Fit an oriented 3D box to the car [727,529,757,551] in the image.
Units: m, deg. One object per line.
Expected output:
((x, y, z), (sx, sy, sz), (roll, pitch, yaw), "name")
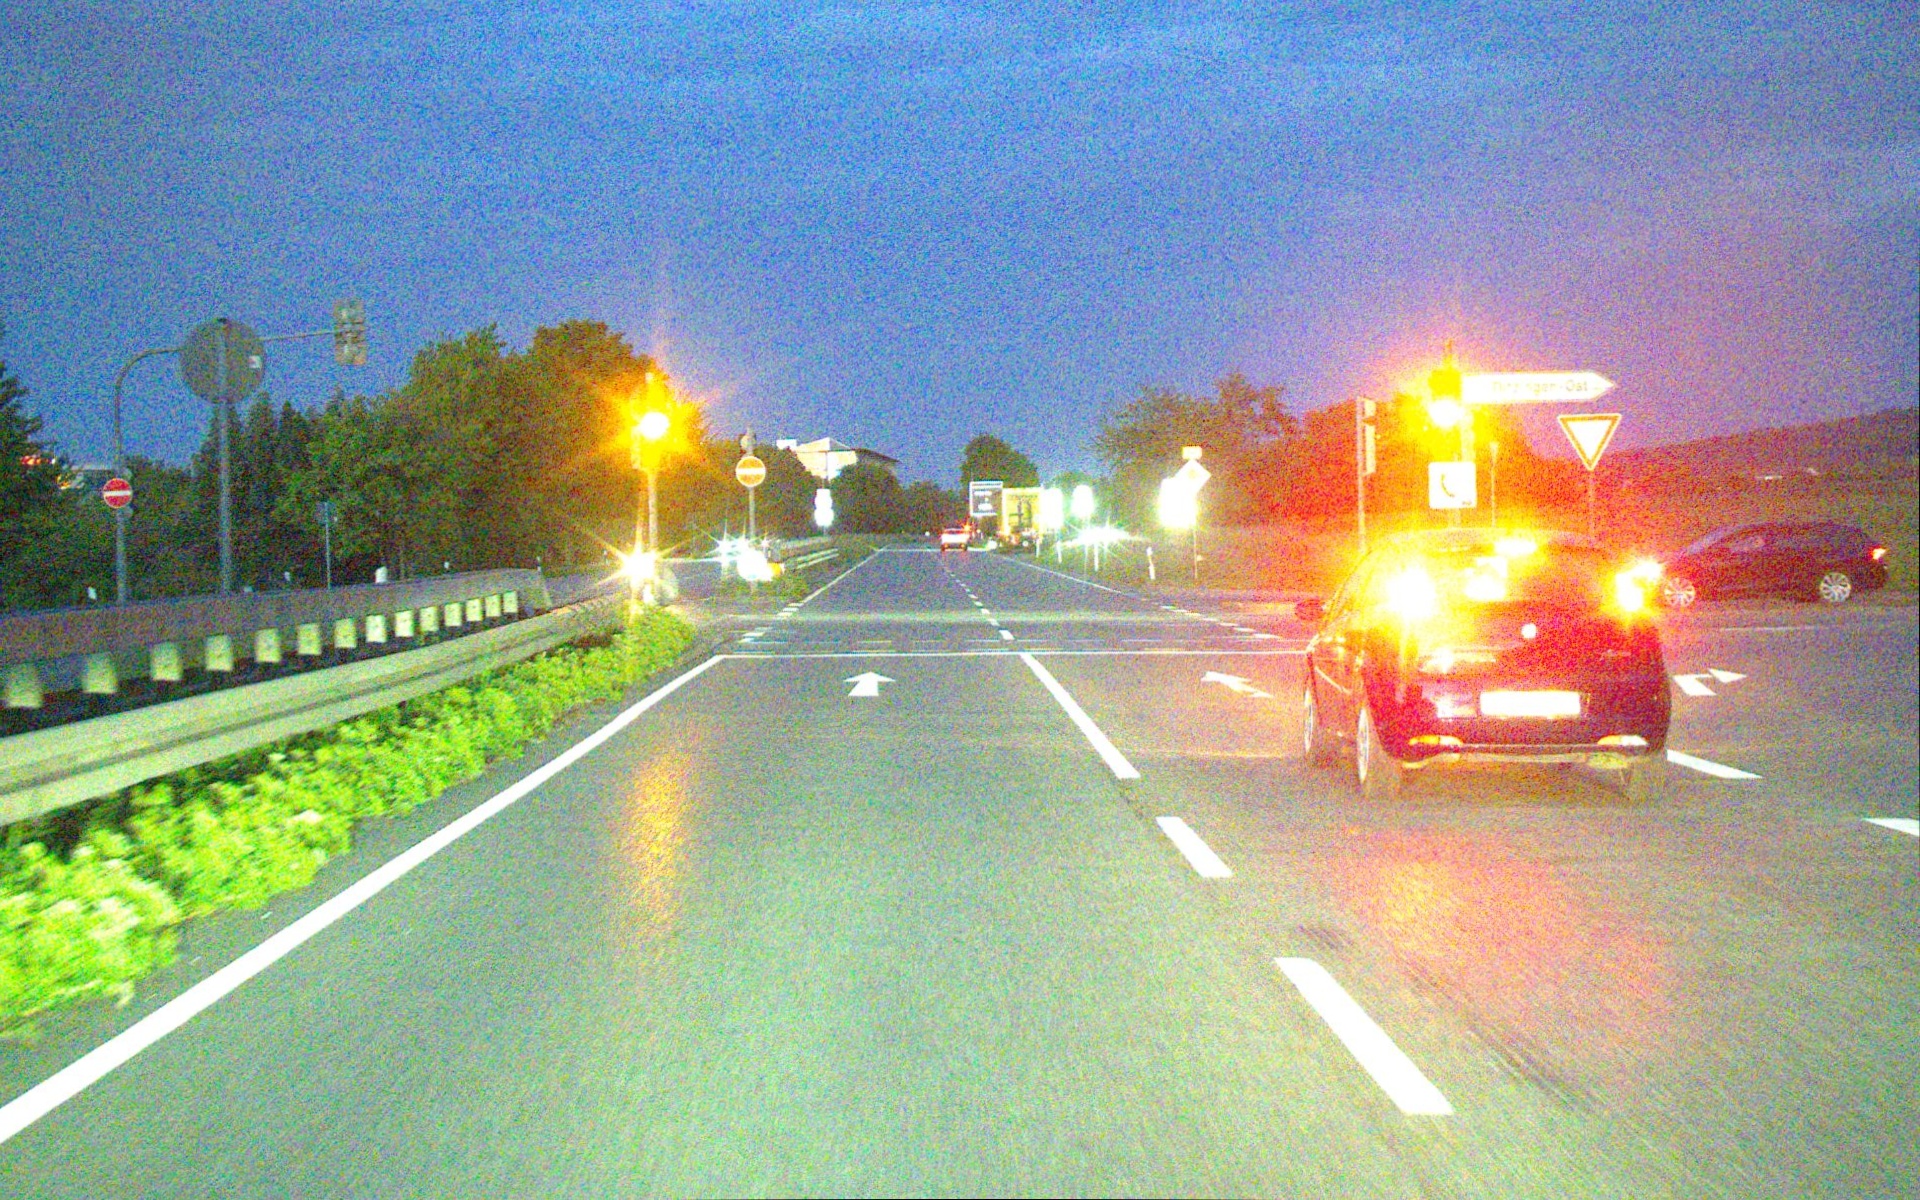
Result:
((-15.812, -4.352, 249.459), (1.993, 1.514, 4.298), (-1, 1, -1), "car")

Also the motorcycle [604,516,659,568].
((-7.176, -1.281, 75.267), (0.979, 1.095, 2.509), (-2, 1, -1), "motorcycle")

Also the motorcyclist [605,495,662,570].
((-7.150, -1.480, 75.289), (1.137, 1.579, 0.973), (-2, 1, -2), "motorcyclist")

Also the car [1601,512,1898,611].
((13.553, -0.678, 59.179), (4.600, 1.515, 2.000), (-2, 1, 0), "car")

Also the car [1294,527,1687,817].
((2.975, 0.334, 20.036), (1.670, 1.515, 4.106), (0, 1, 0), "car")

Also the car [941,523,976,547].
((-0.122, -4.541, 239.911), (2.273, 1.626, 4.001), (-1, 1, -2), "car")
